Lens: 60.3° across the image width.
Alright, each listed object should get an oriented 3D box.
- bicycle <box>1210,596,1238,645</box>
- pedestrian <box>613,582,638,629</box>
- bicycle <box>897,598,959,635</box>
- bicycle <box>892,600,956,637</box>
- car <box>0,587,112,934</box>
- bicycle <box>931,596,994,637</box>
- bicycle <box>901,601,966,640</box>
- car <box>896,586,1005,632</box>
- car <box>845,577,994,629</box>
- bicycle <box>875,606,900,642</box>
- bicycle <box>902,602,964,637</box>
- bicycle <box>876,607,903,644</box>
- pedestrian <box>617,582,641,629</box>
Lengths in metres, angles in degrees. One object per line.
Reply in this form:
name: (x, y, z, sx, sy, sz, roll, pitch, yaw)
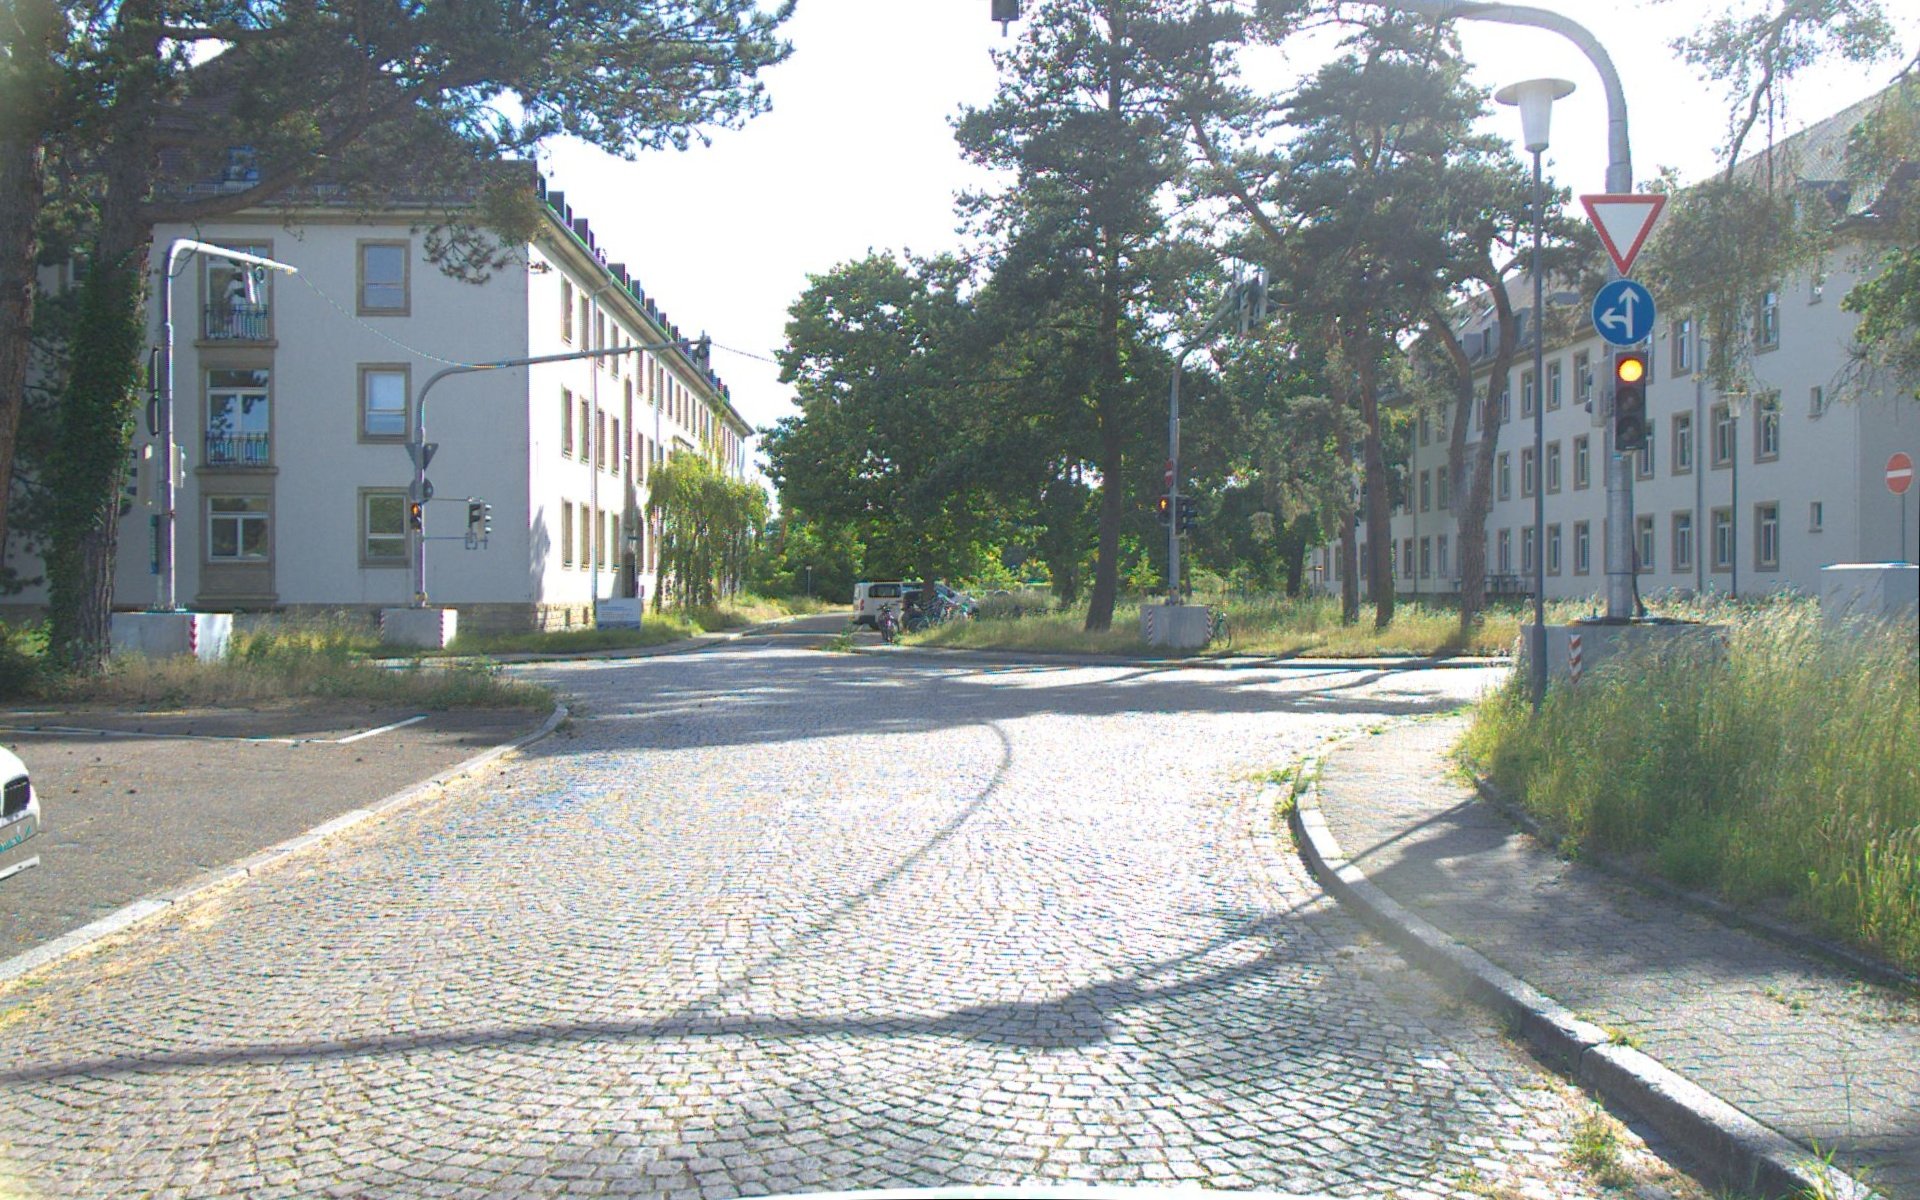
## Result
bicycle: (5.972, 0.453, 37.423, 0.456, 1.099, 1.174, 0, 0, 1)
pedestrian: (-13.043, 0.213, 64.563, 0.794, 1.849, 0.555, 0, 0, 8)
bicycle: (-1.007, 0.515, 52.374, 1.904, 1.149, 0.646, 0, 0, -8)
bicycle: (-1.121, 0.565, 51.274, 1.920, 1.149, 0.641, 0, 0, -30)
car: (-6.402, 0.624, 7.170, 4.452, 1.493, 1.751, 2, 0, -5)
bicycle: (0.077, 0.497, 50.810, 1.903, 1.257, 0.485, 0, 0, -6)
bicycle: (-0.808, 0.616, 50.070, 1.903, 1.149, 0.749, 0, 0, -5)
car: (-0.366, 0.318, 63.068, 3.914, 1.713, 1.843, 0, 0, -10)
car: (-1.684, 0.118, 67.265, 5.821, 2.049, 2.470, 0, 0, -9)
bicycle: (-2.094, 0.684, 47.669, 0.682, 0.988, 1.859, 0, 0, -4)
bicycle: (-0.808, 0.576, 49.271, 1.818, 1.049, 0.749, 0, 0, -5)
bicycle: (-1.958, 0.695, 45.734, 0.682, 0.988, 1.859, 0, 0, -4)
pedestrian: (-13.118, 0.205, 65.521, 0.751, 1.849, 0.683, 0, 0, 8)
